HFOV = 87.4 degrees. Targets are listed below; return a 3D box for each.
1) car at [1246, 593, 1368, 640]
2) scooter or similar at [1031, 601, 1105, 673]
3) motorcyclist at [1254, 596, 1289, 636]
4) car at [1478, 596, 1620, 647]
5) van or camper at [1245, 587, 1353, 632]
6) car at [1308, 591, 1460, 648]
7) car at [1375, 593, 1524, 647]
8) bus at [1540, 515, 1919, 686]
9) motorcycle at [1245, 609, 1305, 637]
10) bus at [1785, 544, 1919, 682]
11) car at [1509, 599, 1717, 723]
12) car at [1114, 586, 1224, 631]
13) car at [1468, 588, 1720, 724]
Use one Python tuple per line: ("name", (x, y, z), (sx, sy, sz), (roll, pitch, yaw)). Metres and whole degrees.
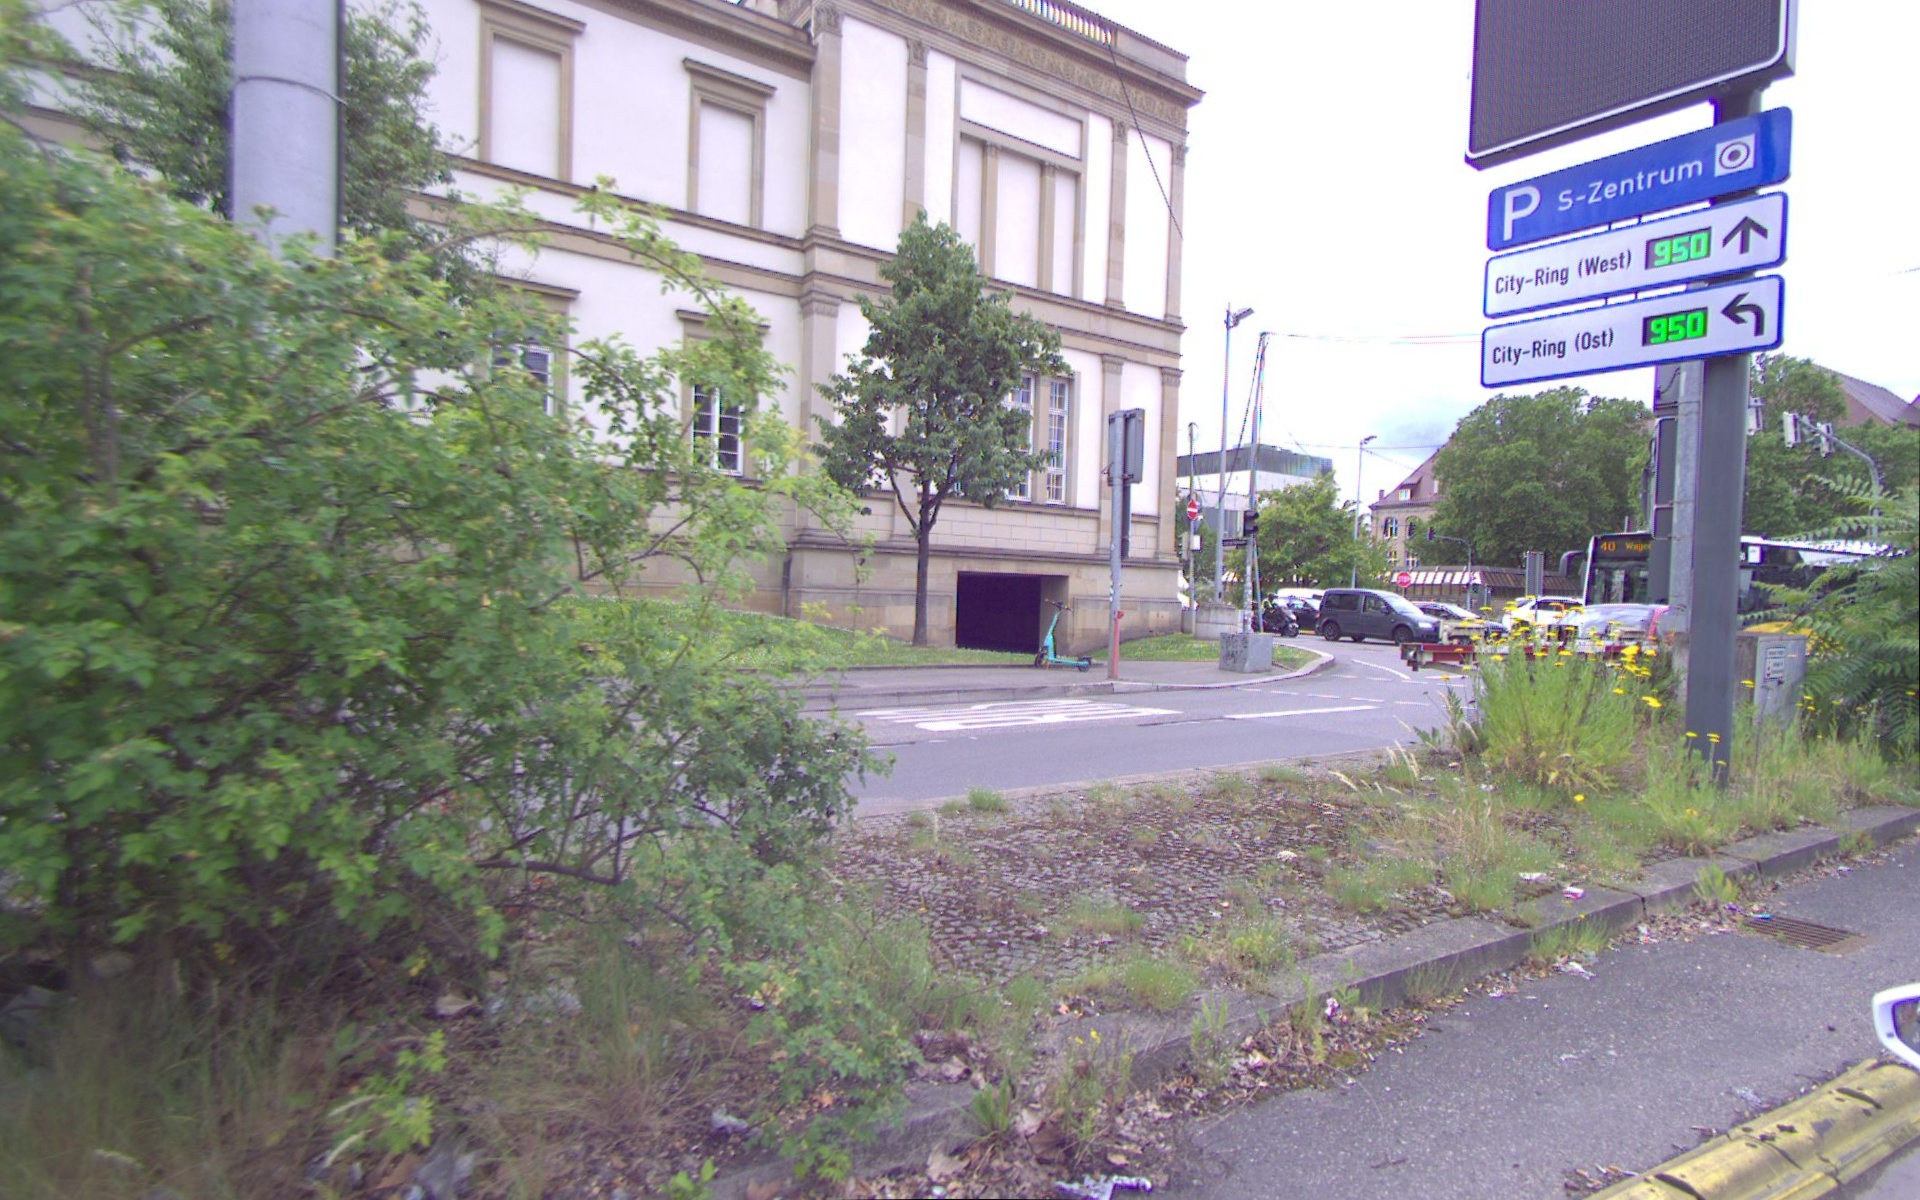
("car", (13.831, 0.629, 40.255), (1.980, 1.698, 4.283), (1, 1, -35))
("scooter or similar", (1.960, 0.665, 18.338), (1.132, 1.190, 0.540), (6, 0, -11))
("motorcyclist", (11.519, 0.597, 37.170), (0.739, 1.442, 0.958), (1, 1, -36))
("car", (22.445, 0.777, 38.386), (1.986, 1.698, 4.269), (1, 1, -44))
("van or camper", (15.645, 0.402, 46.489), (4.263, 1.904, 1.990), (2, 1, 42))
("car", (14.141, 0.606, 33.738), (1.980, 1.698, 4.283), (1, 1, -35))
("car", (17.175, 0.670, 35.437), (1.980, 1.698, 4.283), (1, 1, -35))
("bus", (17.129, 0.080, 21.899), (9.620, 3.156, 2.836), (1, 1, -26))
("motorcycle", (11.601, 0.839, 37.058), (0.750, 0.937, 2.041), (1, 1, -36))
("bus", (25.440, 0.366, 26.075), (9.004, 3.156, 2.835), (1, 1, -27))
("car", (9.284, 0.803, 14.259), (2.794, 1.572, 1.525), (1, 0, -34))
("car", (8.630, 0.338, 41.879), (1.980, 1.698, 4.283), (1, 1, -35))
("car", (8.737, 0.700, 13.748), (3.845, 1.612, 1.652), (1, -1, -37))
